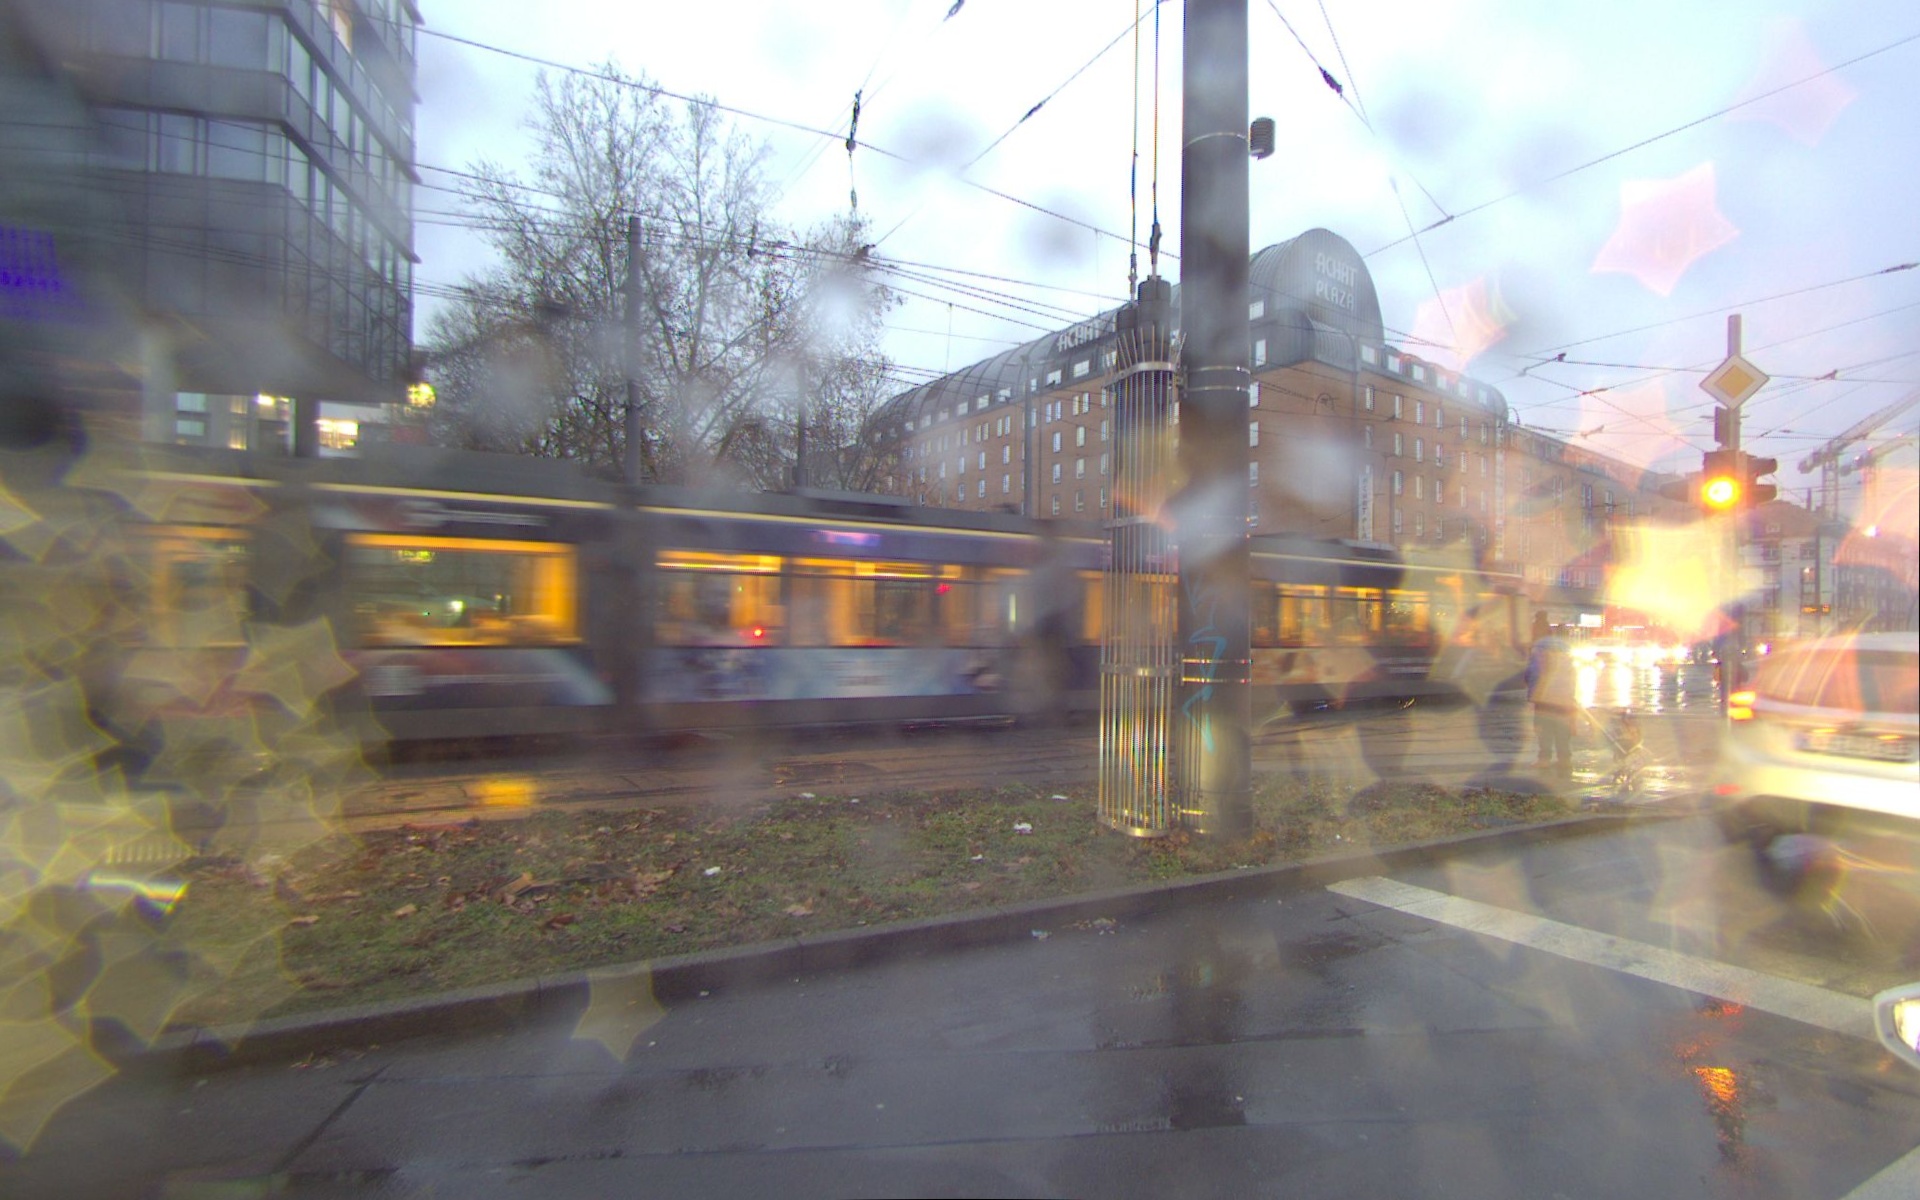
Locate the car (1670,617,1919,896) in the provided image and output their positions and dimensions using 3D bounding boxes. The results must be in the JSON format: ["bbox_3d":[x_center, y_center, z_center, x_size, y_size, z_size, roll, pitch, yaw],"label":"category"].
[{"bbox_3d":[6.618,0.931,6.571,3.952,1.466,1.698,3,-3,-29],"label":"car"}]

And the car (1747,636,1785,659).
[{"bbox_3d":[61.679,3.624,76.872,3.839,1.645,1.769,2,-1,-43],"label":"car"}]

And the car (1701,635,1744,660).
[{"bbox_3d":[53.012,3.304,69.822,3.839,1.645,1.769,2,-1,-43],"label":"car"}]

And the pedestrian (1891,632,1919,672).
[{"bbox_3d":[48.550,2.649,51.425,0.820,2.040,0.980,1,-1,-15],"label":"pedestrian"}]

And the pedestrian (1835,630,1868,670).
[{"bbox_3d":[45.729,2.556,51.542,0.820,2.040,0.980,1,-1,-15],"label":"pedestrian"}]

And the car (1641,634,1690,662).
[{"bbox_3d":[43.750,2.958,62.275,3.839,1.645,1.769,2,-1,-43],"label":"car"}]

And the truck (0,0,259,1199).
[{"bbox_3d":[-4.774,-0.445,0.101,7.441,3.681,2.825,1,-1,-31],"label":"truck"}]

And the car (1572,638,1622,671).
[{"bbox_3d":[32.161,2.716,50.816,2.015,1.582,4.823,0,-2,32],"label":"car"}]

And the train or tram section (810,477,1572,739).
[{"bbox_3d":[6.244,0.376,20.499,19.009,3.662,2.848,2,-2,-33],"label":"train or tram section"}]

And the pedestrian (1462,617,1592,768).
[{"bbox_3d":[6.329,1.024,11.255,1.017,1.621,0.716,0,-3,-5],"label":"pedestrian"}]

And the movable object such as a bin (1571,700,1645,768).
[{"bbox_3d":[7.118,1.470,11.041,0.528,0.708,0.412,1,-3,-5],"label":"movable object such as a bin"}]

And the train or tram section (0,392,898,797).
[{"bbox_3d":[-9.986,-0.038,9.922,19.851,3.662,2.849,2,-2,-33],"label":"train or tram section"}]

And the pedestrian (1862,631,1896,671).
[{"bbox_3d":[47.140,2.602,51.526,0.820,2.040,0.980,1,-1,-15],"label":"pedestrian"}]
